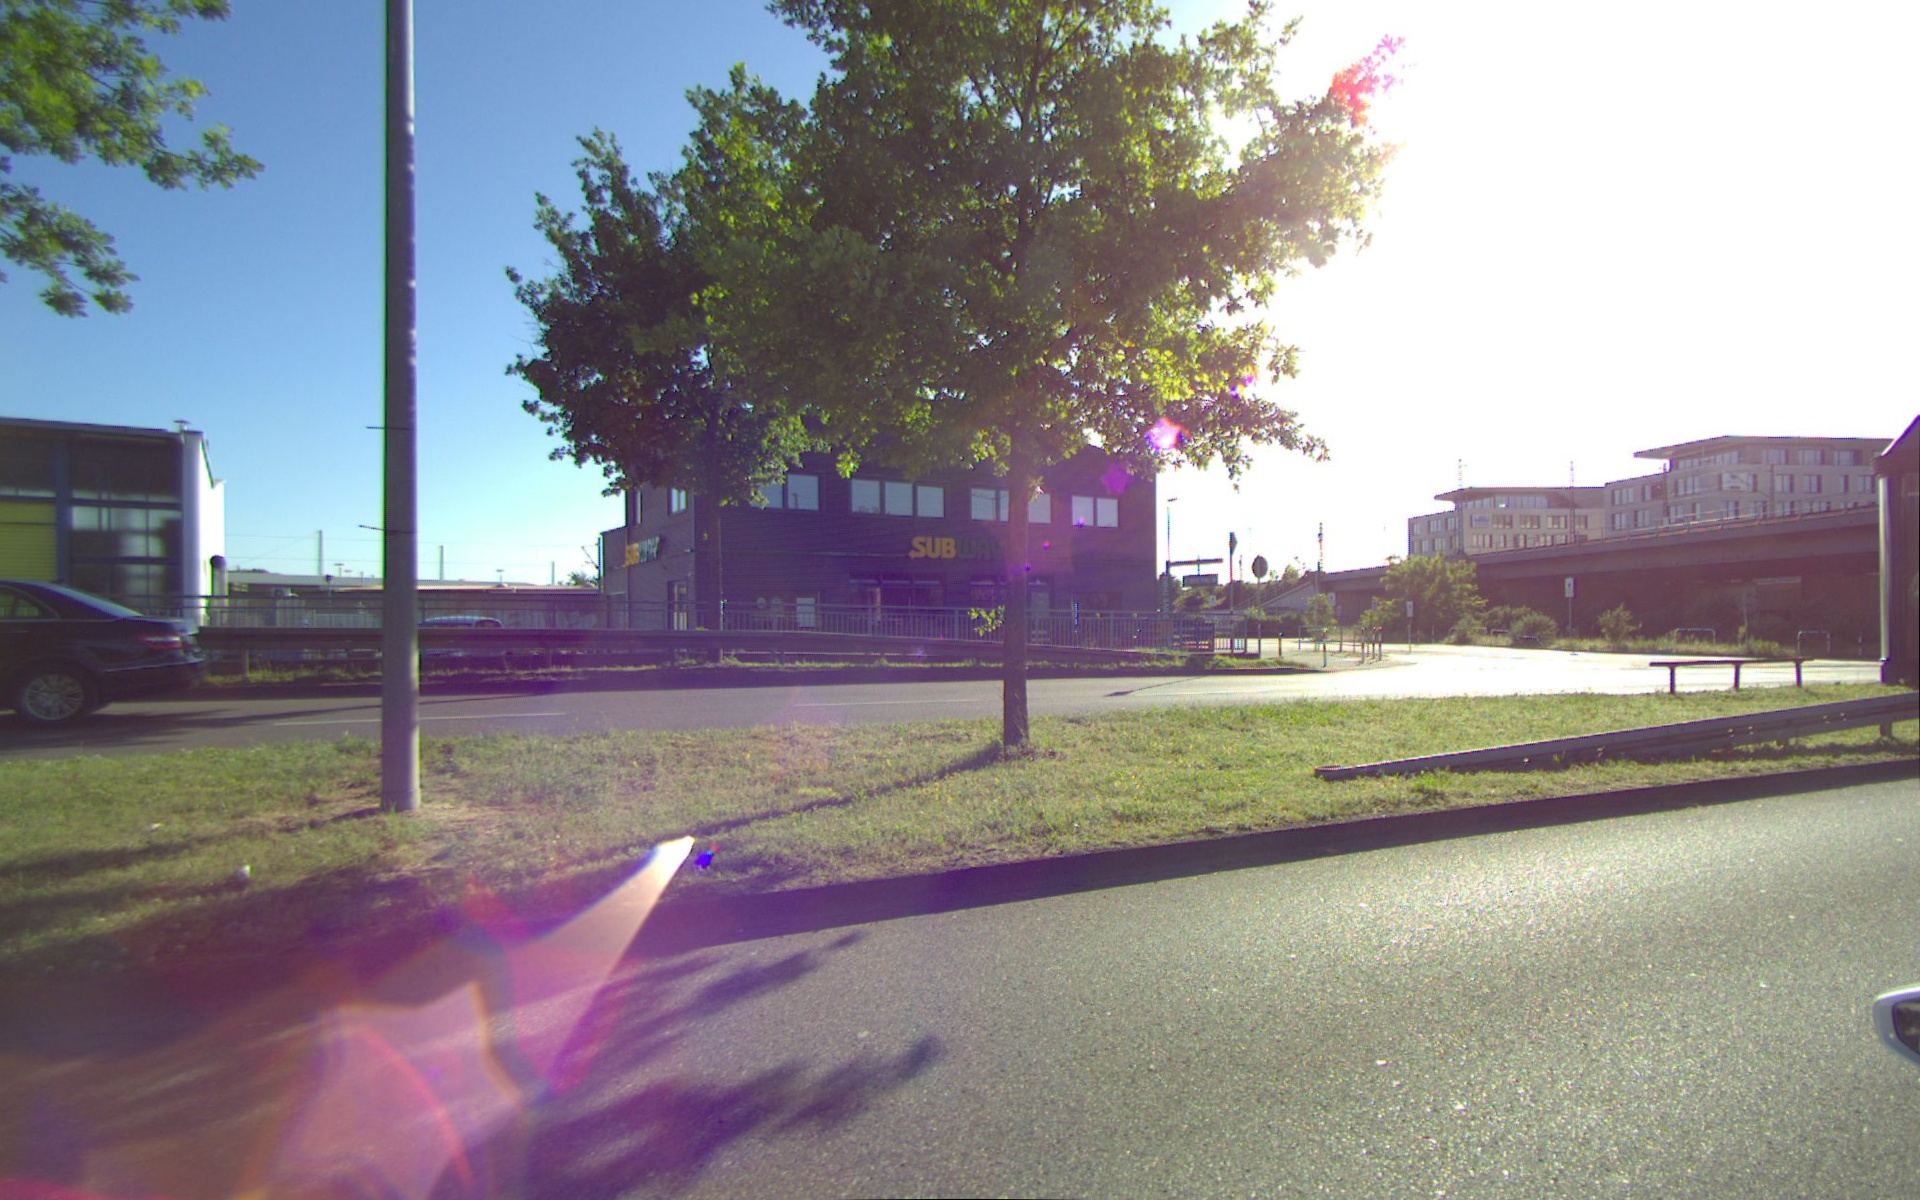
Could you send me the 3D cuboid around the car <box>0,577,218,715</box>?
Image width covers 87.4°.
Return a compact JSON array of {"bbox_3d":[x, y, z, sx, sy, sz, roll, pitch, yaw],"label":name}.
[{"bbox_3d":[-10.350,0.420,10.040,4.567,1.327,1.789,2,-1,-34],"label":"car"}]
